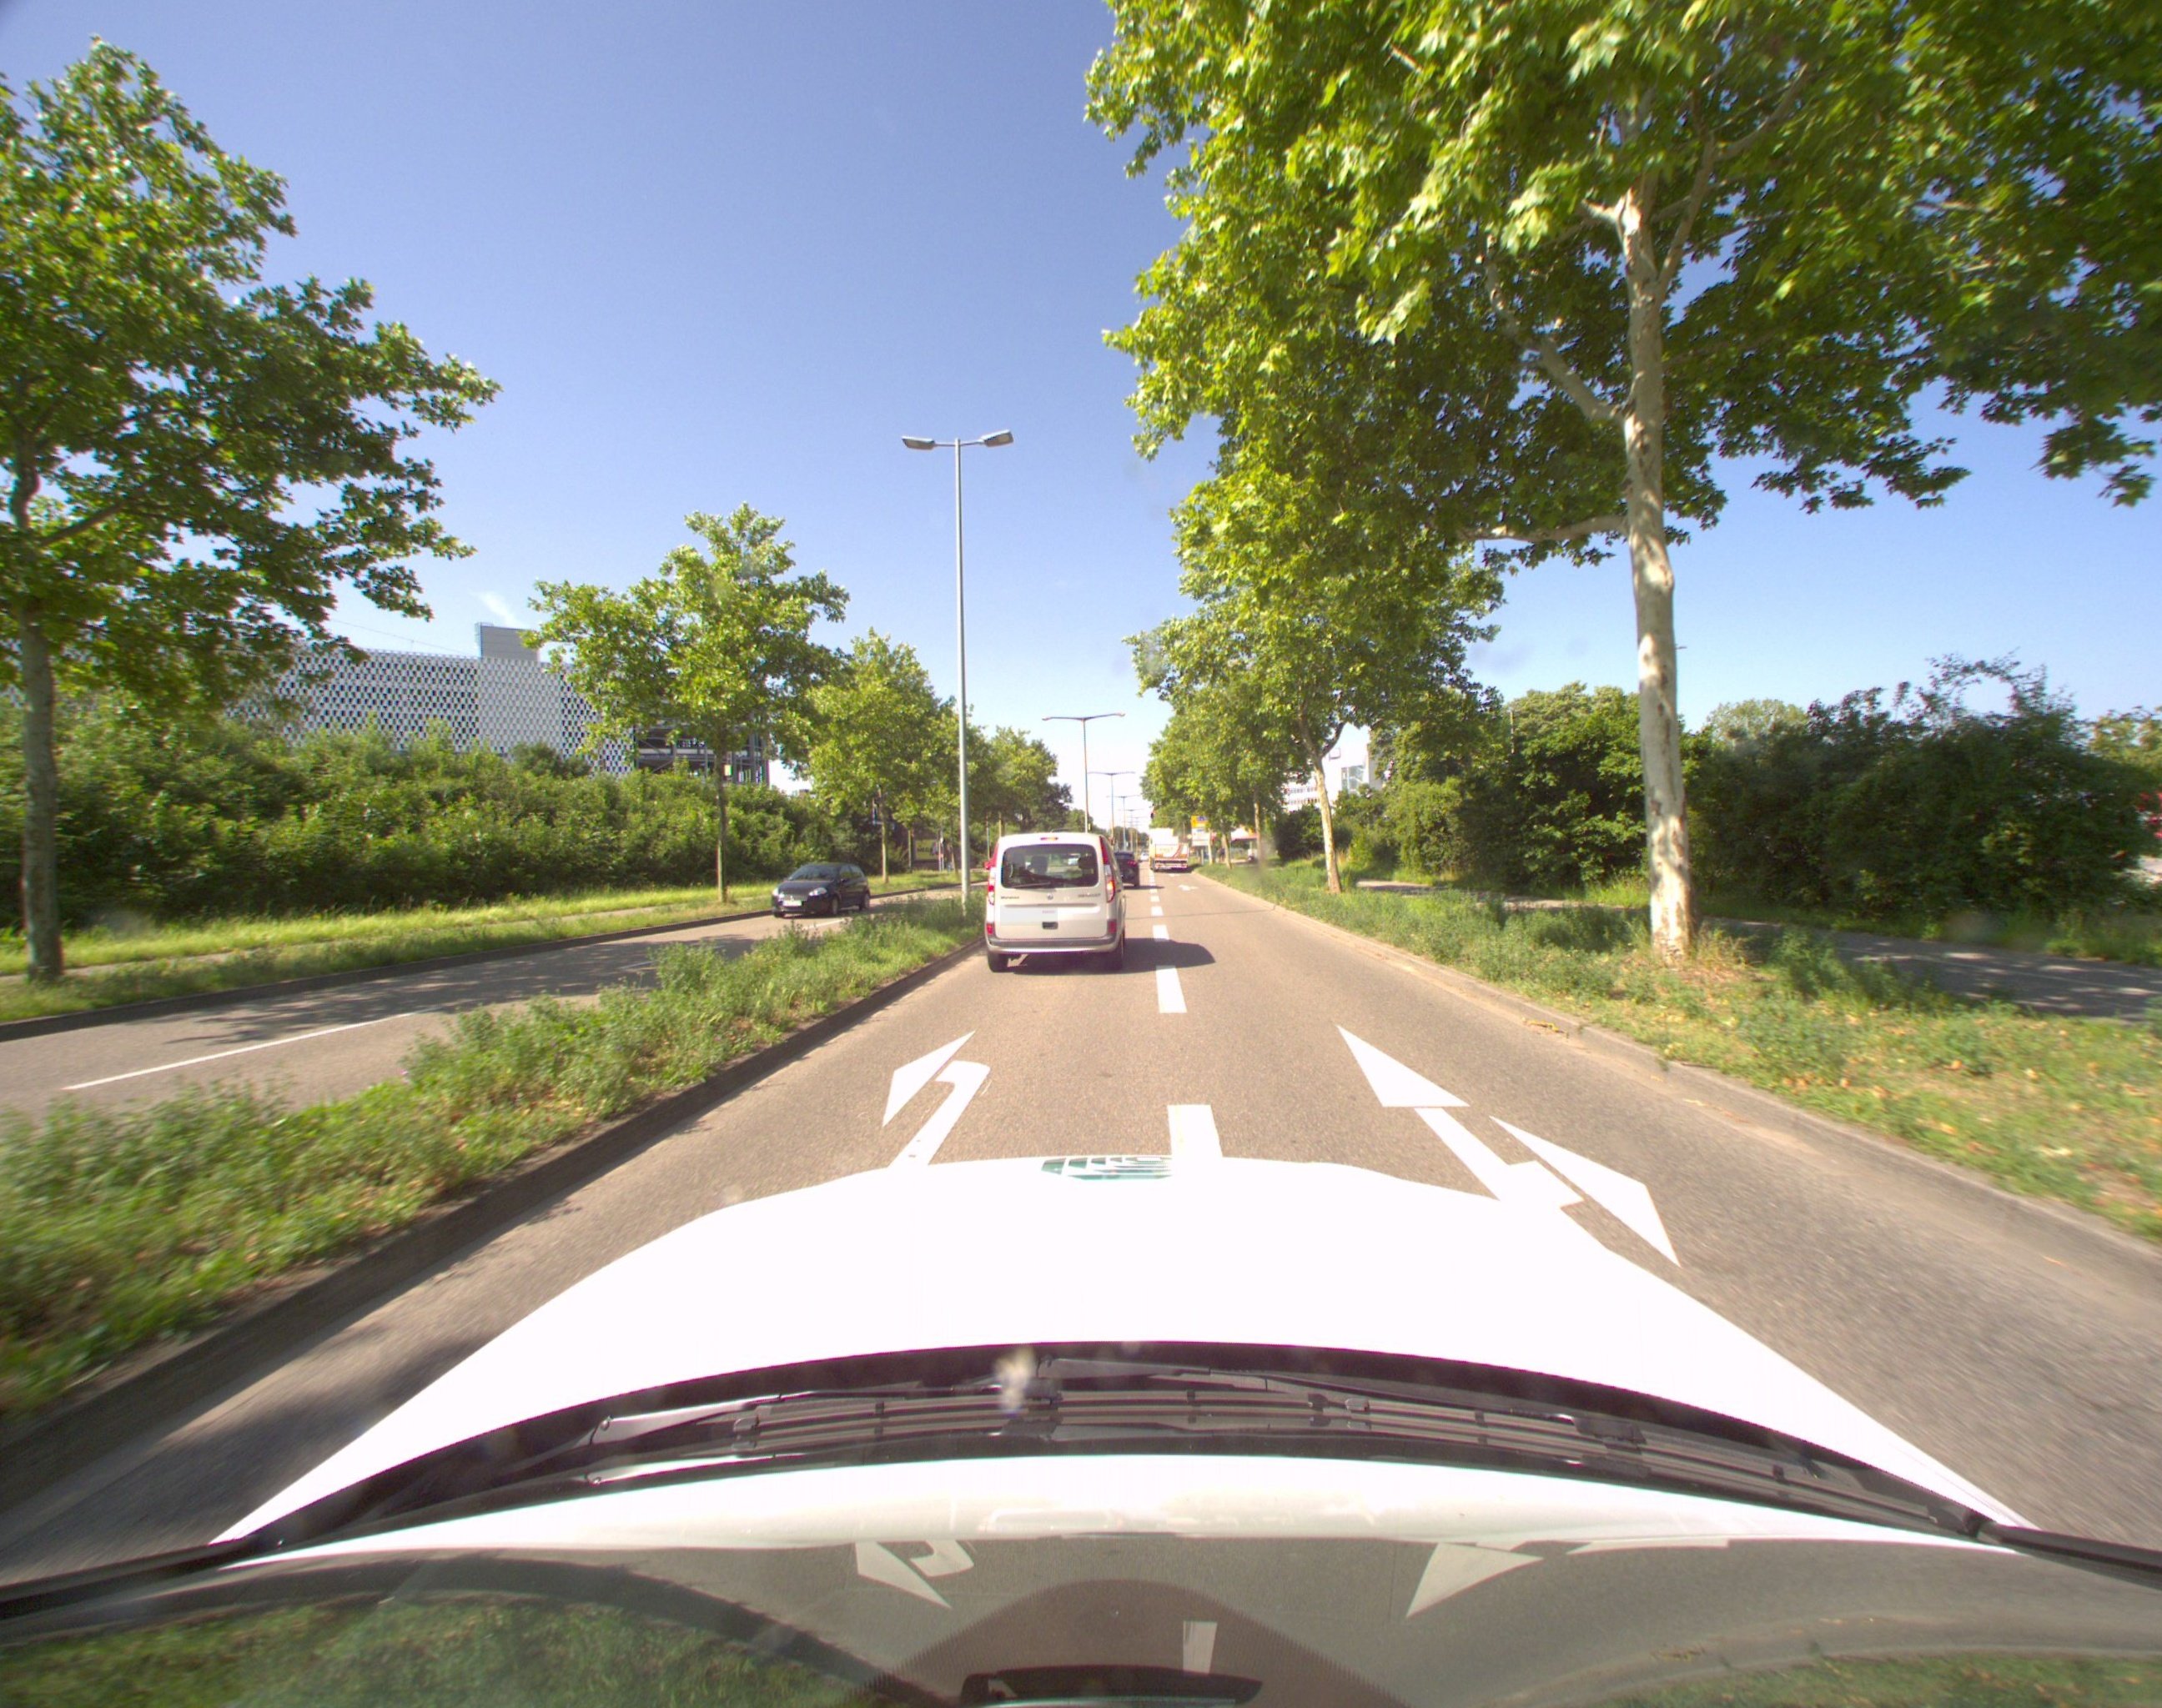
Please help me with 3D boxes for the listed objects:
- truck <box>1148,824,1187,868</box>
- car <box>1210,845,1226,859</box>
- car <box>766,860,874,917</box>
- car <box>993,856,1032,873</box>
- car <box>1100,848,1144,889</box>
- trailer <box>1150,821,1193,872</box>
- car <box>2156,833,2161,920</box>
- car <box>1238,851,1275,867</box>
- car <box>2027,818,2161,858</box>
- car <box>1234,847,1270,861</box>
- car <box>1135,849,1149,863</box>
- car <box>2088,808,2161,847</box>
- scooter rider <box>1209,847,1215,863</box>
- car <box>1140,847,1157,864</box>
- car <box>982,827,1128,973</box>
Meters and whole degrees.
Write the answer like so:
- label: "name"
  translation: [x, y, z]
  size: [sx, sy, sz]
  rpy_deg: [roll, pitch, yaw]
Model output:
- label: "truck"
  translation: [7.596, -0.652, 72.491]
  size: [3.059, 3.758, 7.482]
  rpy_deg: [0, -1, 3]
- label: "car"
  translation: [17.042, -0.226, 101.517]
  size: [1.807, 1.795, 3.448]
  rpy_deg: [0, -1, 5]
- label: "car"
  translation: [-7.252, 0.920, 23.046]
  size: [1.563, 1.470, 3.931]
  rpy_deg: [0, -1, 4]
- label: "car"
  translation: [-7.925, 1.176, 93.926]
  size: [4.007, 1.860, 1.983]
  rpy_deg: [0, -1, -25]
- label: "car"
  translation: [1.767, 0.631, 35.625]
  size: [1.803, 1.684, 4.001]
  rpy_deg: [0, -1, 2]
- label: "trailer"
  translation: [7.157, -0.474, 66.081]
  size: [3.002, 3.741, 12.254]
  rpy_deg: [0, 0, 4]
- label: "car"
  translation: [22.421, 0.393, 14.225]
  size: [4.469, 1.635, 2.098]
  rpy_deg: [0, -1, 1]
- label: "car"
  translation: [19.477, 0.546, 90.381]
  size: [3.963, 1.662, 1.727]
  rpy_deg: [0, -1, 9]
- label: "car"
  translation: [49.750, -0.733, 40.012]
  size: [2.006, 1.816, 3.961]
  rpy_deg: [0, -1, -30]
- label: "car"
  translation: [19.692, 0.003, 93.792]
  size: [3.963, 1.662, 1.727]
  rpy_deg: [0, -1, 9]
- label: "car"
  translation: [9.447, 0.325, 126.044]
  size: [1.709, 2.014, 3.998]
  rpy_deg: [0, -1, -1]
- label: "car"
  translation: [45.600, -1.110, 34.178]
  size: [1.688, 1.569, 3.961]
  rpy_deg: [0, -1, -30]
- label: "scooter rider"
  translation: [10.983, 0.108, 68.298]
  size: [0.495, 1.337, 0.563]
  rpy_deg: [0, -1, 1]
- label: "car"
  translation: [6.723, 0.139, 81.124]
  size: [1.460, 1.635, 3.472]
  rpy_deg: [0, -1, 2]
- label: "car"
  translation: [-0.210, 0.581, 11.918]
  size: [1.741, 1.772, 3.953]
  rpy_deg: [0, -1, 4]
